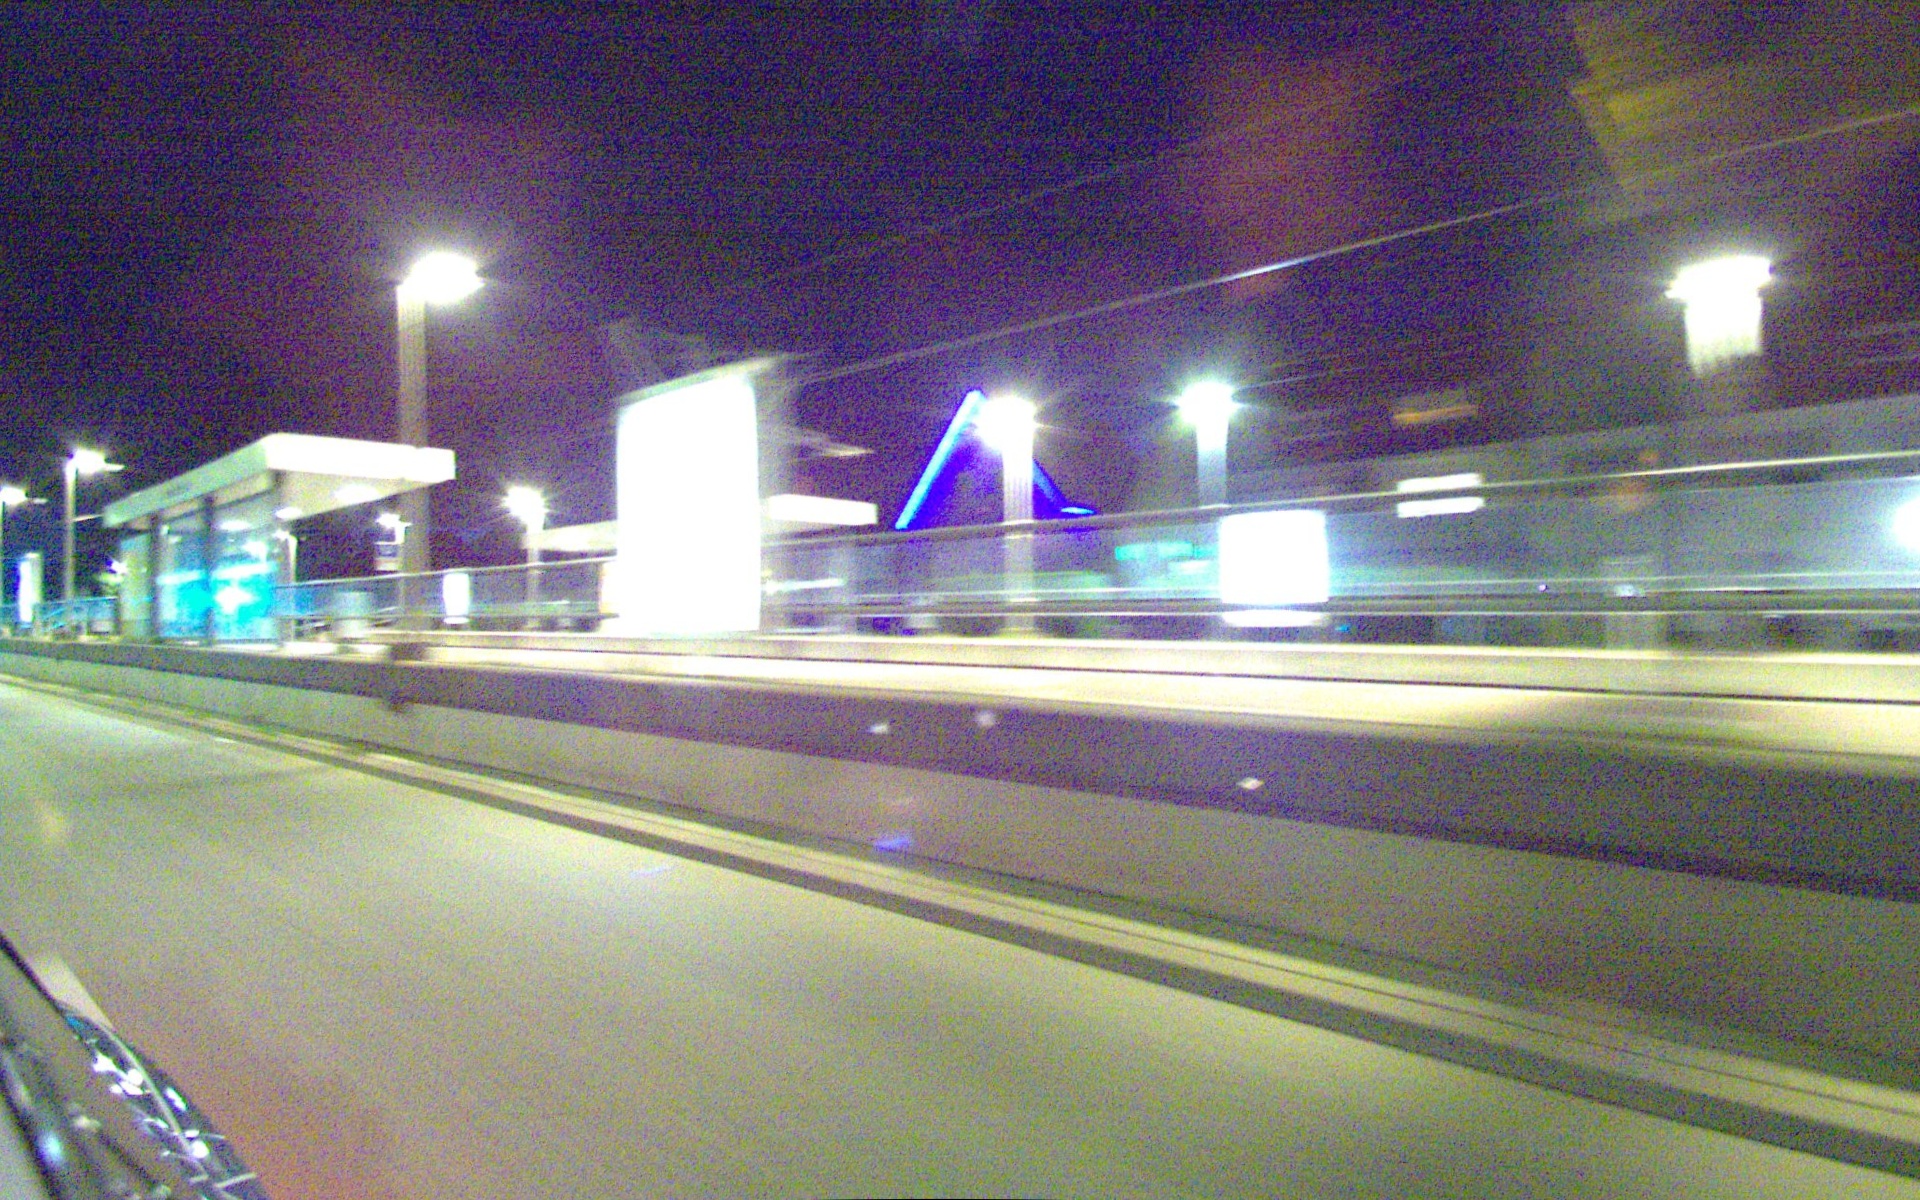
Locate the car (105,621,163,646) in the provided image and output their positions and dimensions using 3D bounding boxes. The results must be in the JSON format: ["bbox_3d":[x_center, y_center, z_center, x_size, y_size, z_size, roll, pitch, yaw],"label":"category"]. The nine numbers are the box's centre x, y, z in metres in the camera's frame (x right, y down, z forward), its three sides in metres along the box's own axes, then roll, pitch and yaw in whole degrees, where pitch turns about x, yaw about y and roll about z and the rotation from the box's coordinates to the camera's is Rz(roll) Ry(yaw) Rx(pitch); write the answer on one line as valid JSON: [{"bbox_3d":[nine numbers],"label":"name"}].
[{"bbox_3d":[-51.798,2.127,63.441,4.086,1.516,1.849,-2,-2,36],"label":"car"}]
